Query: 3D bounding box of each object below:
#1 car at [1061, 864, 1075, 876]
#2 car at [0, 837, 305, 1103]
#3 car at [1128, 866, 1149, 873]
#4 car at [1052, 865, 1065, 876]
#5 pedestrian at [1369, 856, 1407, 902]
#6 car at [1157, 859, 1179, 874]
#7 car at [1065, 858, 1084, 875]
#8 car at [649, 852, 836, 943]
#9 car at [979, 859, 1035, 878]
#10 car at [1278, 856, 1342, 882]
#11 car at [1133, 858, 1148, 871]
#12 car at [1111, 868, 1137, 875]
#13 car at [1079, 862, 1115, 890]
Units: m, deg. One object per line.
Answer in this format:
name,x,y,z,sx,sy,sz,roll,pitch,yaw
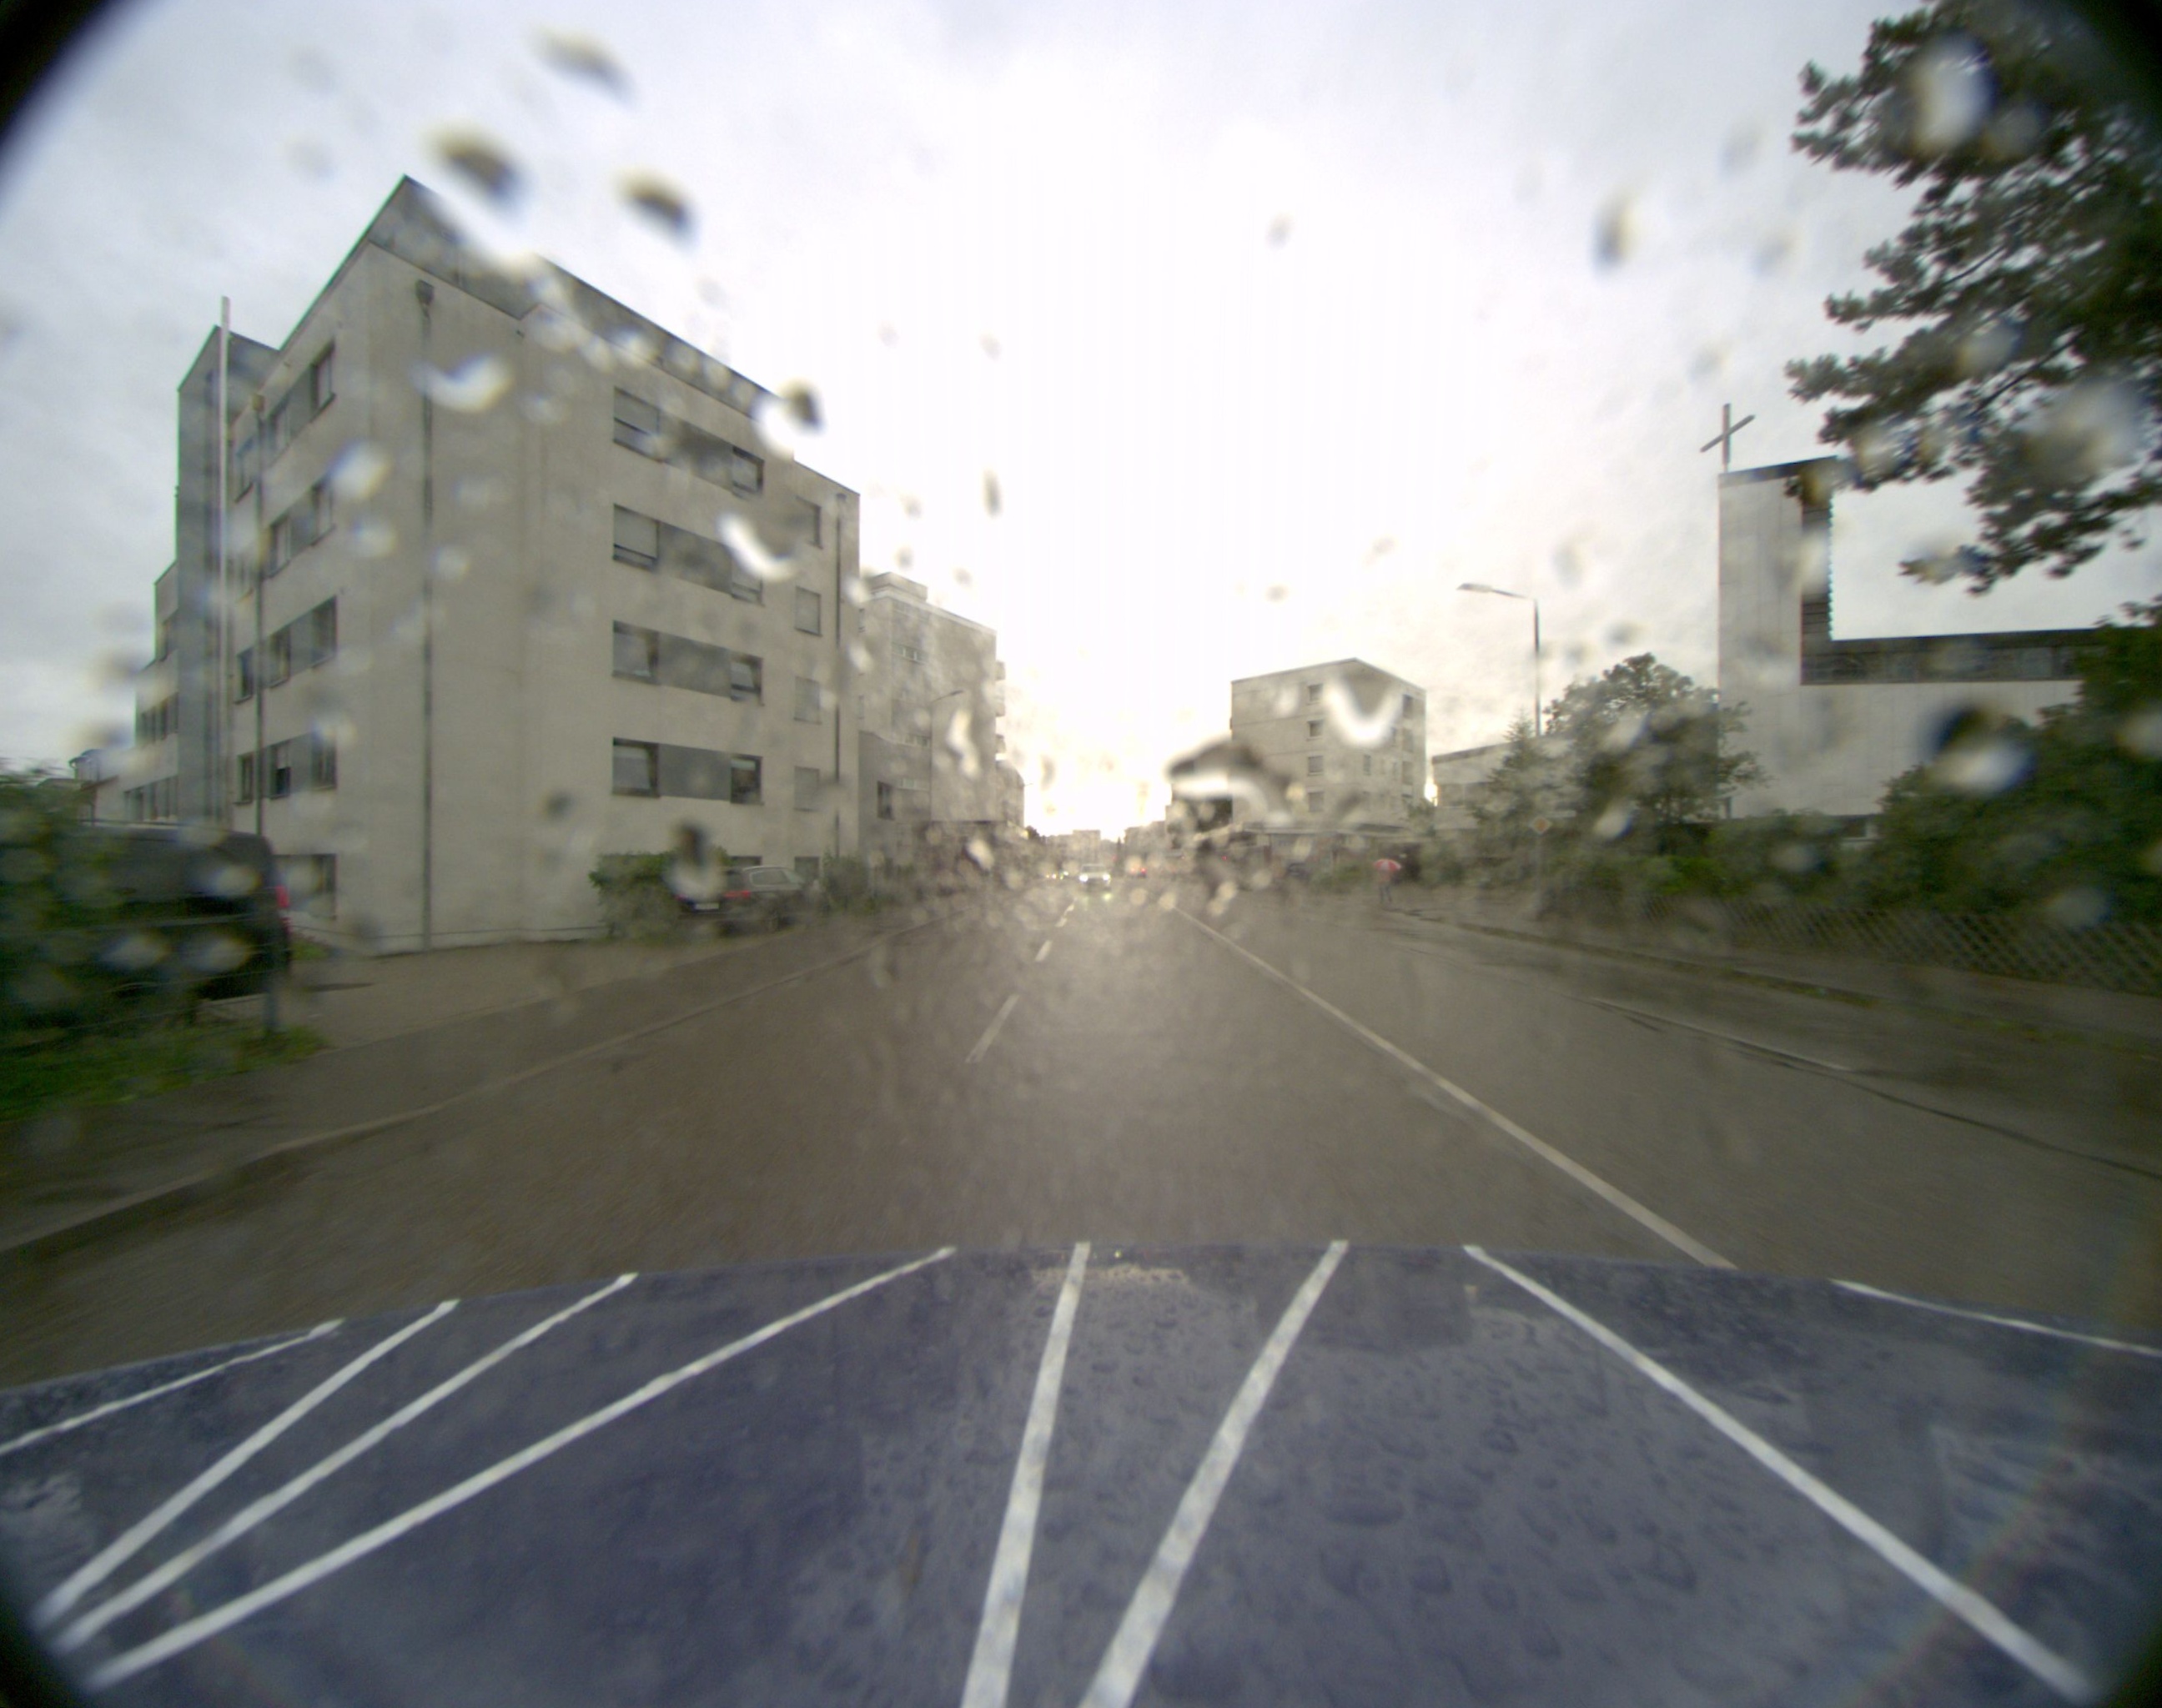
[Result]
car,-2.060,2.539,120.451,1.998,2.001,4.002,0,-1,4
car,-9.394,0.875,5.651,1.994,2.002,4.789,0,0,35
car,12.330,3.273,163.269,4.622,1.487,1.930,0,-1,3
car,-4.156,3.027,139.793,1.998,2.001,4.002,0,-1,2
pedestrian,11.209,0.901,27.787,0.872,1.598,1.102,-1,1,-6
car,8.773,1.250,76.797,1.702,1.400,4.000,2,-1,-1
car,-0.799,1.538,94.380,1.998,2.001,4.002,0,-1,4
car,-7.410,0.866,17.273,1.998,1.775,4.692,0,0,2
car,-6.006,1.199,61.613,4.260,1.485,1.877,-2,-2,29
car,14.298,0.911,47.314,1.994,1.537,4.480,0,0,43
car,7.607,1.400,97.391,1.806,1.547,4.321,-1,-1,5
car,9.417,3.882,168.027,5.465,1.673,2.153,-2,-2,40
car,0.825,1.177,41.521,1.830,1.431,4.345,-1,-1,-1
